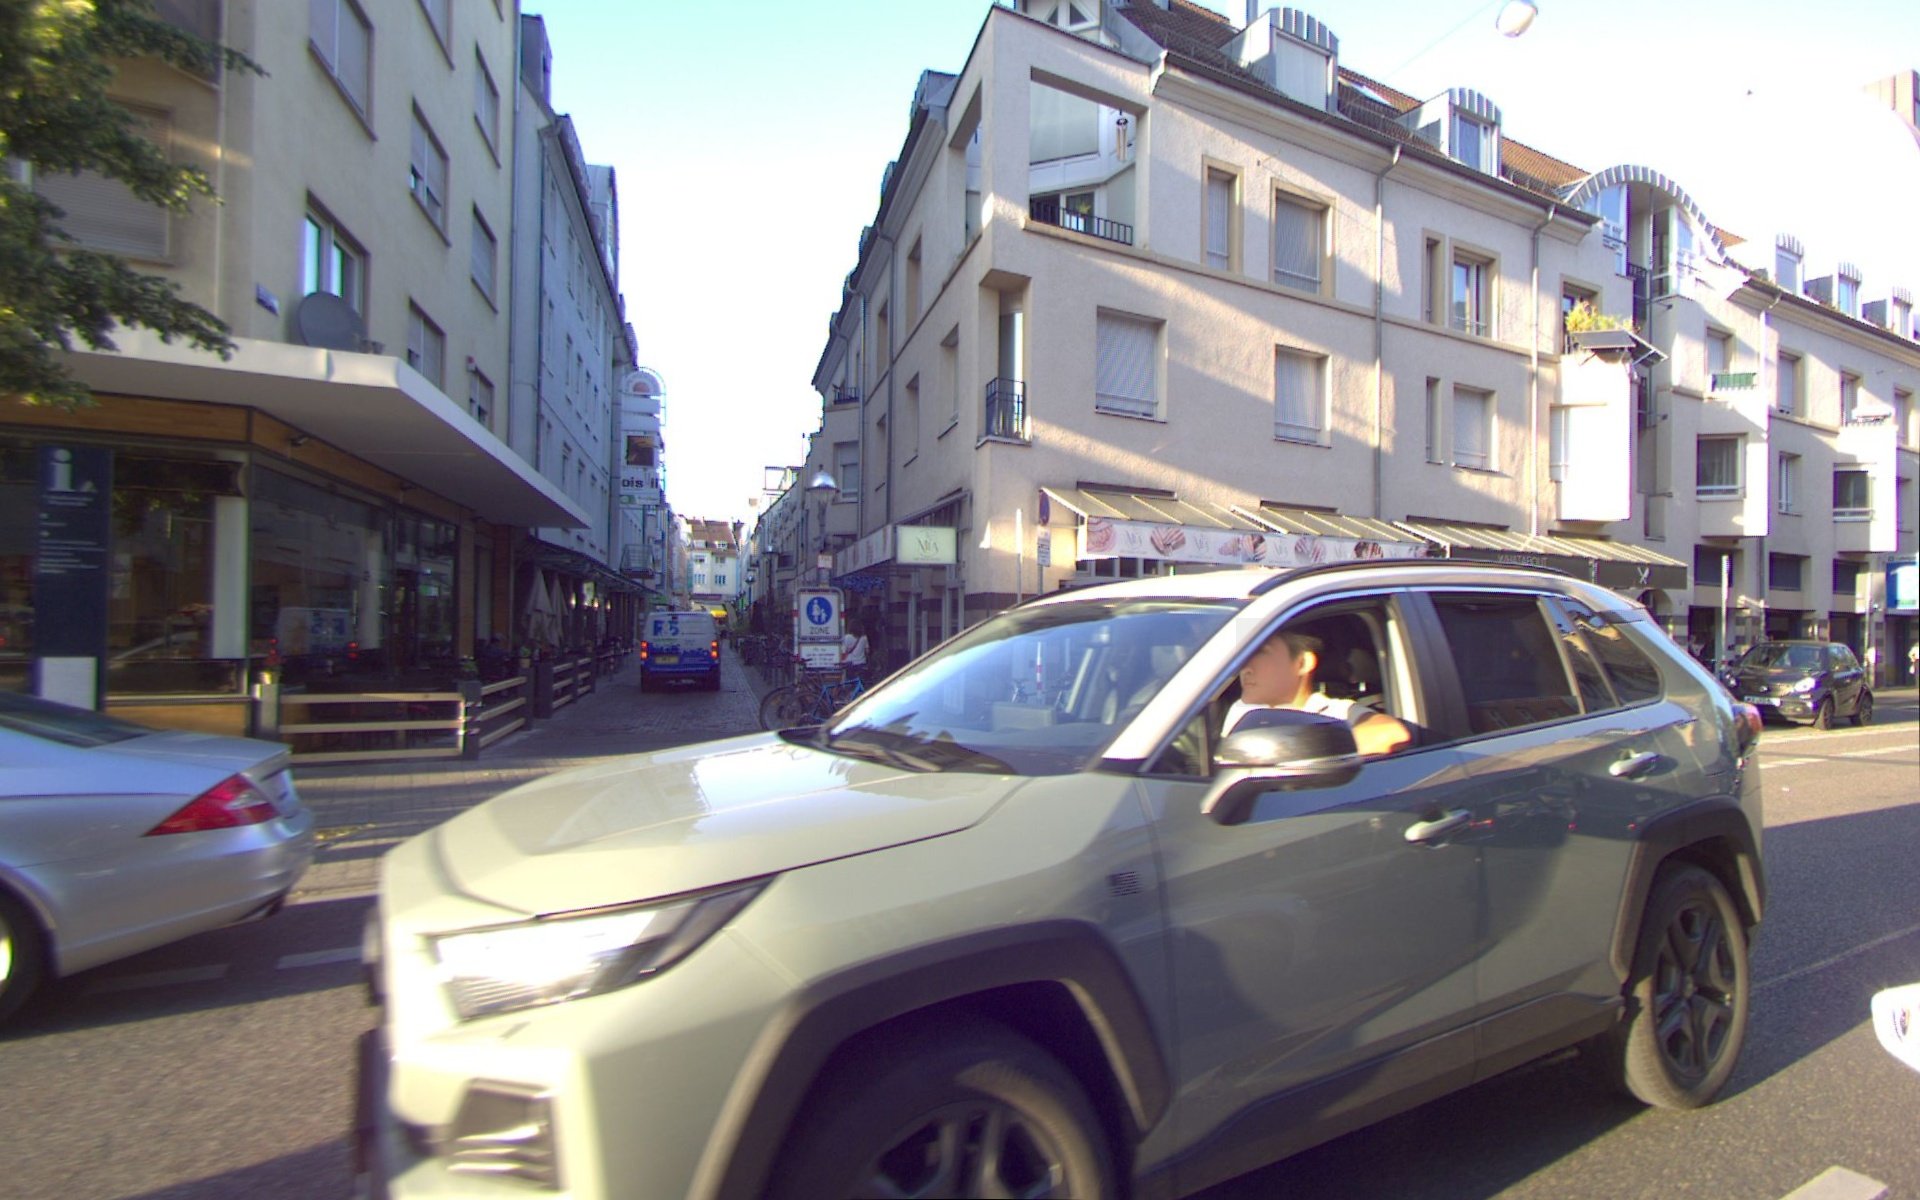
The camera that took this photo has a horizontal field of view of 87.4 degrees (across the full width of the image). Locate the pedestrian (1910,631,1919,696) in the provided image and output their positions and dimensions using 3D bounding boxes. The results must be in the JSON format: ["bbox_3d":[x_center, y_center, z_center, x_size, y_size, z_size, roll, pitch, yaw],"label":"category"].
[{"bbox_3d":[25.129,1.655,25.876,0.941,1.663,0.713,2,0,-32],"label":"pedestrian"}]

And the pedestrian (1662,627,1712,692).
[{"bbox_3d":[18.770,1.532,25.934,0.844,1.637,0.714,2,0,-27],"label":"pedestrian"}]

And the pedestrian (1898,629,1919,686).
[{"bbox_3d":[28.467,1.705,29.752,0.843,1.663,0.714,2,0,-25],"label":"pedestrian"}]

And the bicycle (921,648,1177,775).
[{"bbox_3d":[1.117,1.273,12.065,3.092,1.317,0.953,2,0,-32],"label":"bicycle"}]

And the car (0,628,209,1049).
[{"bbox_3d":[-5.651,0.868,3.597,4.456,1.531,1.985,2,-4,-30],"label":"car"}]

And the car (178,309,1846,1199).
[{"bbox_3d":[0.649,0.614,3.161,4.686,1.666,1.930,2,-3,-32],"label":"car"}]

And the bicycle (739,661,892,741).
[{"bbox_3d":[-1.948,1.346,13.656,1.991,1.005,0.487,2,0,-29],"label":"bicycle"}]

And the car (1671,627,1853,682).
[{"bbox_3d":[27.444,1.818,34.559,1.974,1.623,4.479,2,0,-26],"label":"car"}]

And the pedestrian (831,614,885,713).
[{"bbox_3d":[-1.829,1.121,17.926,0.766,1.698,0.904,2,0,-15],"label":"pedestrian"}]

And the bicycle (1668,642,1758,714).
[{"bbox_3d":[15.497,1.590,20.662,2.331,1.393,0.607,2,0,-31],"label":"bicycle"}]

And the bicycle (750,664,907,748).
[{"bbox_3d":[-1.696,1.352,13.160,1.993,1.005,0.487,2,0,-32],"label":"bicycle"}]

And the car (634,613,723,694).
[{"bbox_3d":[-7.047,1.257,25.531,1.966,1.852,4.868,0,-1,-14],"label":"car"}]

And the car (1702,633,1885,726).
[{"bbox_3d":[15.612,1.461,18.800,3.155,1.555,1.782,3,-2,-33],"label":"car"}]

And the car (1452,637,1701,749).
[{"bbox_3d":[9.505,1.363,15.452,3.681,1.473,1.703,2,0,-30],"label":"car"}]
